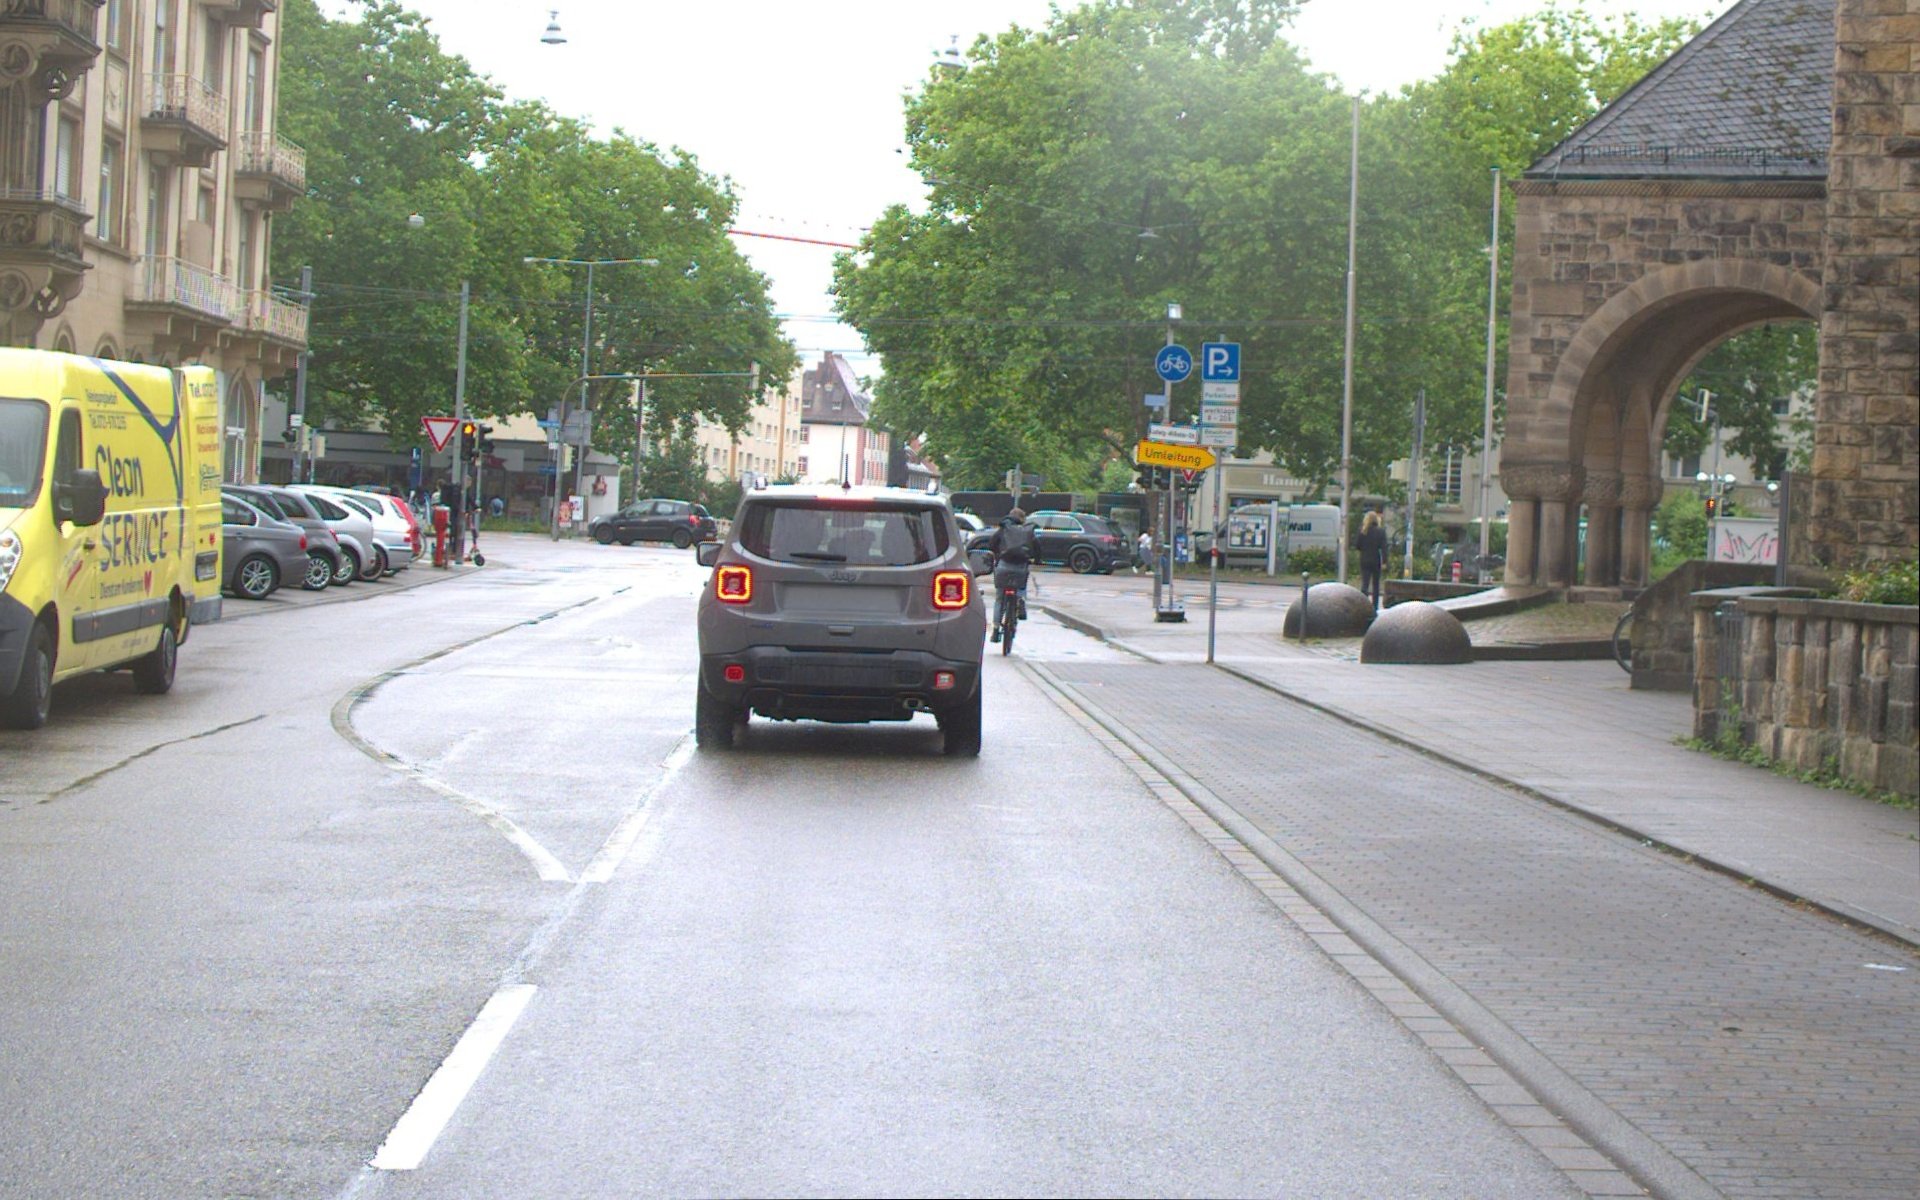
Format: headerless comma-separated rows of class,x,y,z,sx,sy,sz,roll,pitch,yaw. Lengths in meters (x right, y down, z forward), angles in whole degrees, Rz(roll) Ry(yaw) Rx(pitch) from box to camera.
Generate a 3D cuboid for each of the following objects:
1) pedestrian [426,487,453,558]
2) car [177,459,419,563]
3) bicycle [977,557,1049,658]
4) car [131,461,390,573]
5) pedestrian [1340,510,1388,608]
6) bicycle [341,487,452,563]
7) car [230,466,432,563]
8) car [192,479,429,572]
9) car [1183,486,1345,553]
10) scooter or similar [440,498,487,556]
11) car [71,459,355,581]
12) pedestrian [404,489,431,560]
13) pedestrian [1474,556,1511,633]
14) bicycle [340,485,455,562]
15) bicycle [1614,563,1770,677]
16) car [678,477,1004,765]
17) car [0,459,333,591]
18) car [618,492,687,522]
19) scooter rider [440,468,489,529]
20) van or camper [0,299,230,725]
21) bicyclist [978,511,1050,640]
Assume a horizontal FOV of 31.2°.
pedestrian,-11.714,-1.745,77.327,0.467,1.580,0.752,2,1,-3
car,-11.639,-1.565,60.497,3.730,1.553,1.672,3,1,-35
bicycle,0.584,0.069,38.540,0.705,1.050,1.813,2,2,-2
car,-11.138,-1.314,54.776,3.496,1.513,1.885,3,1,-35
pedestrian,7.142,-0.728,60.791,0.690,1.705,0.684,2,1,-1
bicycle,-11.191,-1.491,68.306,2.092,1.439,0.491,1,2,-22
car,-11.669,-1.590,63.802,3.245,1.553,1.535,3,1,-35
car,-10.927,-1.252,57.899,3.413,1.311,1.779,3,1,-35
car,11.468,-3.058,130.065,5.904,2.326,2.060,2,2,2
scooter or similar,-10.589,-1.554,73.354,0.851,1.208,0.986,2,0,-1
car,-11.192,-1.188,51.577,3.654,1.553,1.809,3,1,-38
pedestrian,-12.163,-1.691,77.054,0.467,1.580,0.659,2,1,-3
pedestrian,12.076,-0.133,77.899,0.682,1.705,0.692,2,2,17
bicycle,-11.017,-1.490,67.317,2.109,1.439,0.539,1,2,-22
bicycle,7.500,0.199,35.241,1.488,1.098,0.363,2,2,19
car,-0.825,0.071,22.891,1.898,1.665,4.506,2,1,-3
car,-10.581,-0.996,45.921,3.843,1.474,1.885,3,1,-42
car,-16.828,-5.078,188.111,3.471,1.495,1.541,2,1,10
scooter rider,-10.571,-2.162,73.364,0.880,1.216,0.984,3,-1,-2
van or camper,-6.735,-0.486,23.778,2.121,2.522,6.875,-1,0,-2
bicyclist,0.599,-0.289,38.532,0.705,1.398,1.171,2,2,-2
